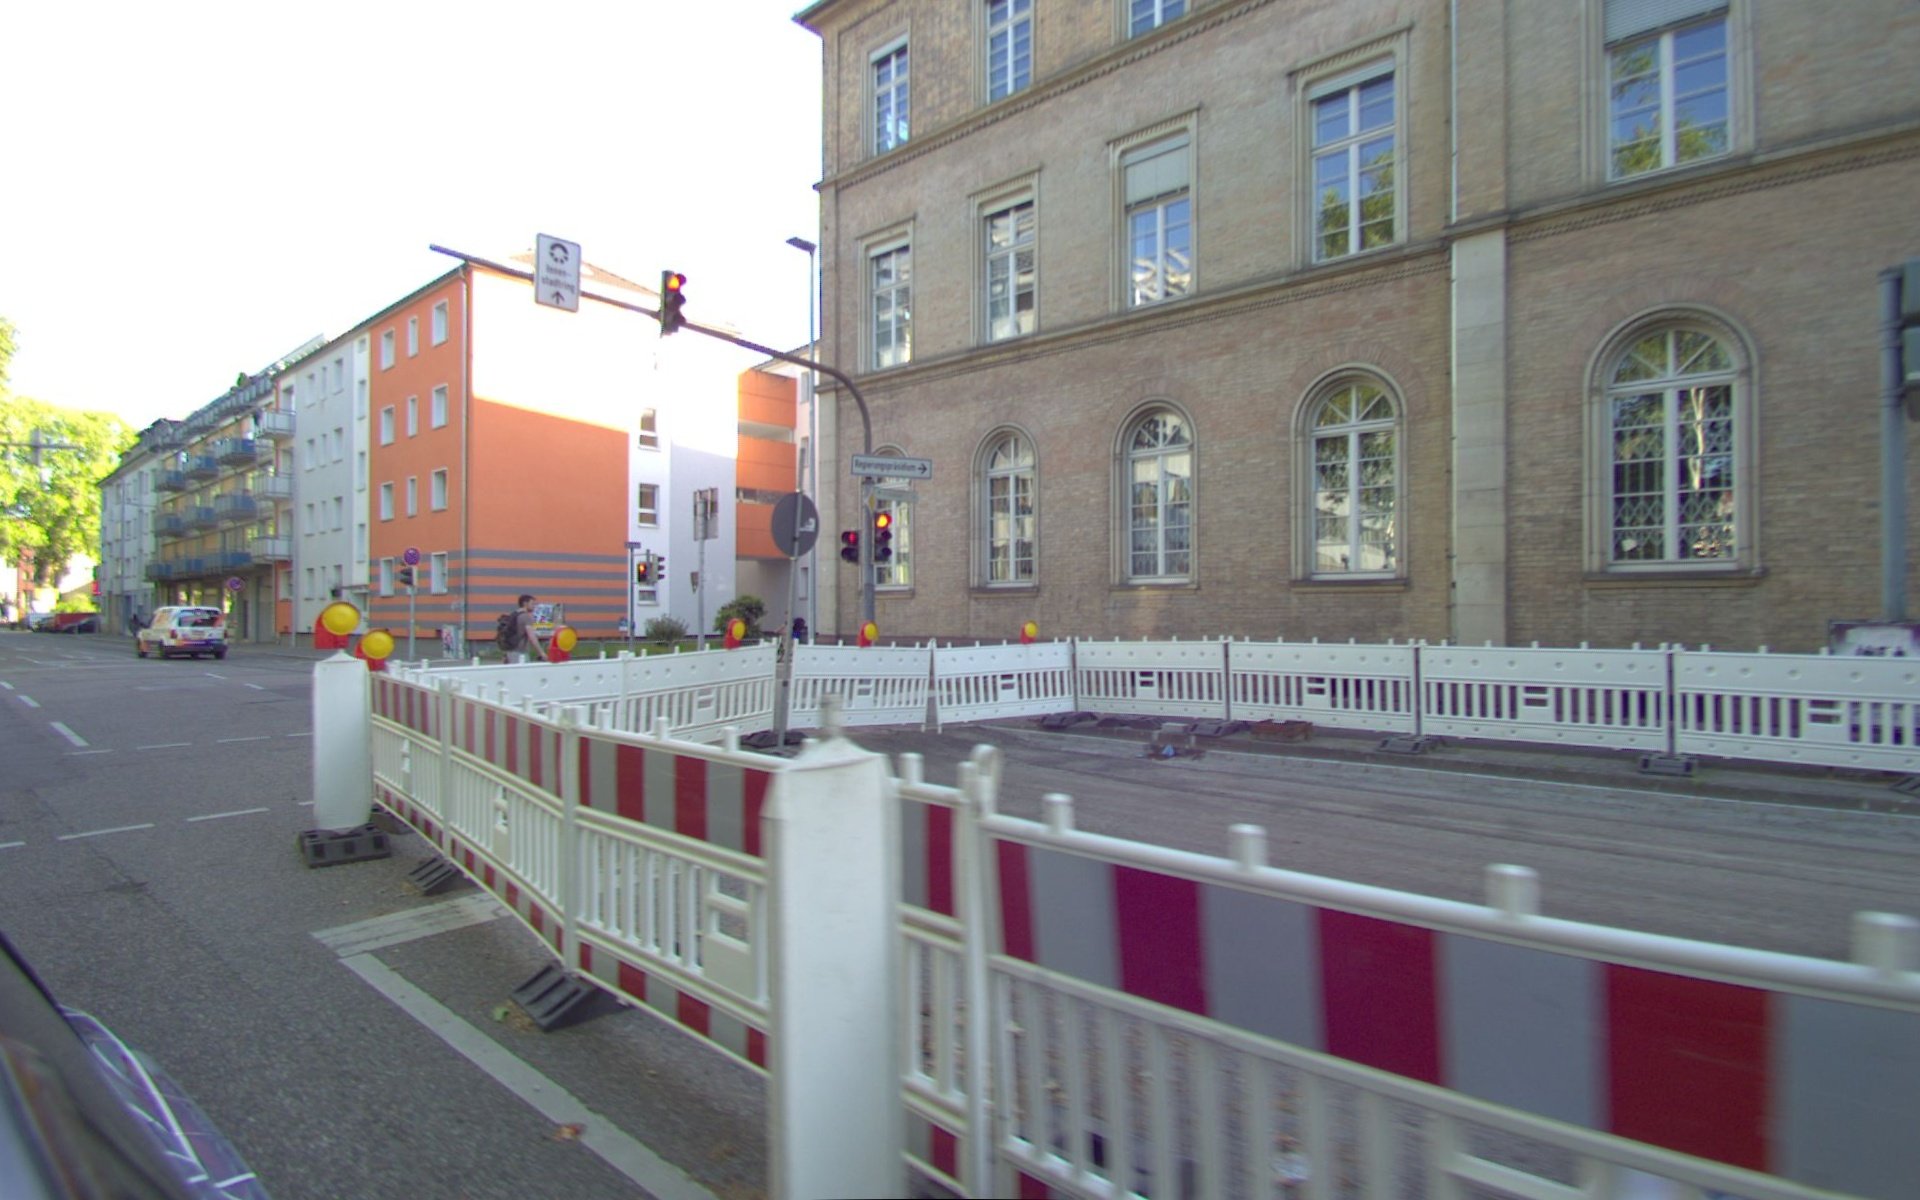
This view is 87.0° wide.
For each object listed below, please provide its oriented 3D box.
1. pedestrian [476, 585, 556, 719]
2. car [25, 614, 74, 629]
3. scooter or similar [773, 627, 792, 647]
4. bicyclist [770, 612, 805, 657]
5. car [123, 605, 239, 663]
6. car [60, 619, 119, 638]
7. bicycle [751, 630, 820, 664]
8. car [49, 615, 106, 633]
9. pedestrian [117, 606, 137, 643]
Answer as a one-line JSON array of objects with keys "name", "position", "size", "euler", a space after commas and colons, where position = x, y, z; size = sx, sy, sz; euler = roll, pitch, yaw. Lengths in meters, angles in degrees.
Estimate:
[{"name": "pedestrian", "position": [-6.166, 0.704, 14.043], "size": [0.870, 1.785, 0.749], "euler": [1, -2, -37]}, {"name": "car", "position": [-102.013, 2.403, 113.366], "size": [1.834, 1.712, 3.942], "euler": [-2, -2, 44]}, {"name": "scooter or similar", "position": [-7.216, 1.491, 41.091], "size": [0.742, 0.794, 0.298], "euler": [-1, -1, 27]}, {"name": "bicyclist", "position": [-5.397, 1.094, 31.664], "size": [0.824, 1.383, 0.794], "euler": [3, -5, -34]}, {"name": "car", "position": [-27.178, 1.217, 35.242], "size": [5.118, 1.830, 1.975], "euler": [-3, 0, 38]}, {"name": "car", "position": [-79.614, 2.614, 92.533], "size": [1.834, 1.712, 3.942], "euler": [-2, -2, 44]}, {"name": "bicycle", "position": [-5.444, 1.476, 31.621], "size": [1.959, 1.007, 0.792], "euler": [2, -4, -35]}, {"name": "car", "position": [-83.697, 2.273, 96.036], "size": [1.834, 1.712, 3.942], "euler": [-2, -2, 44]}, {"name": "pedestrian", "position": [-56.225, 1.654, 68.319], "size": [1.088, 2.414, 0.902], "euler": [-1, -2, 42]}]
